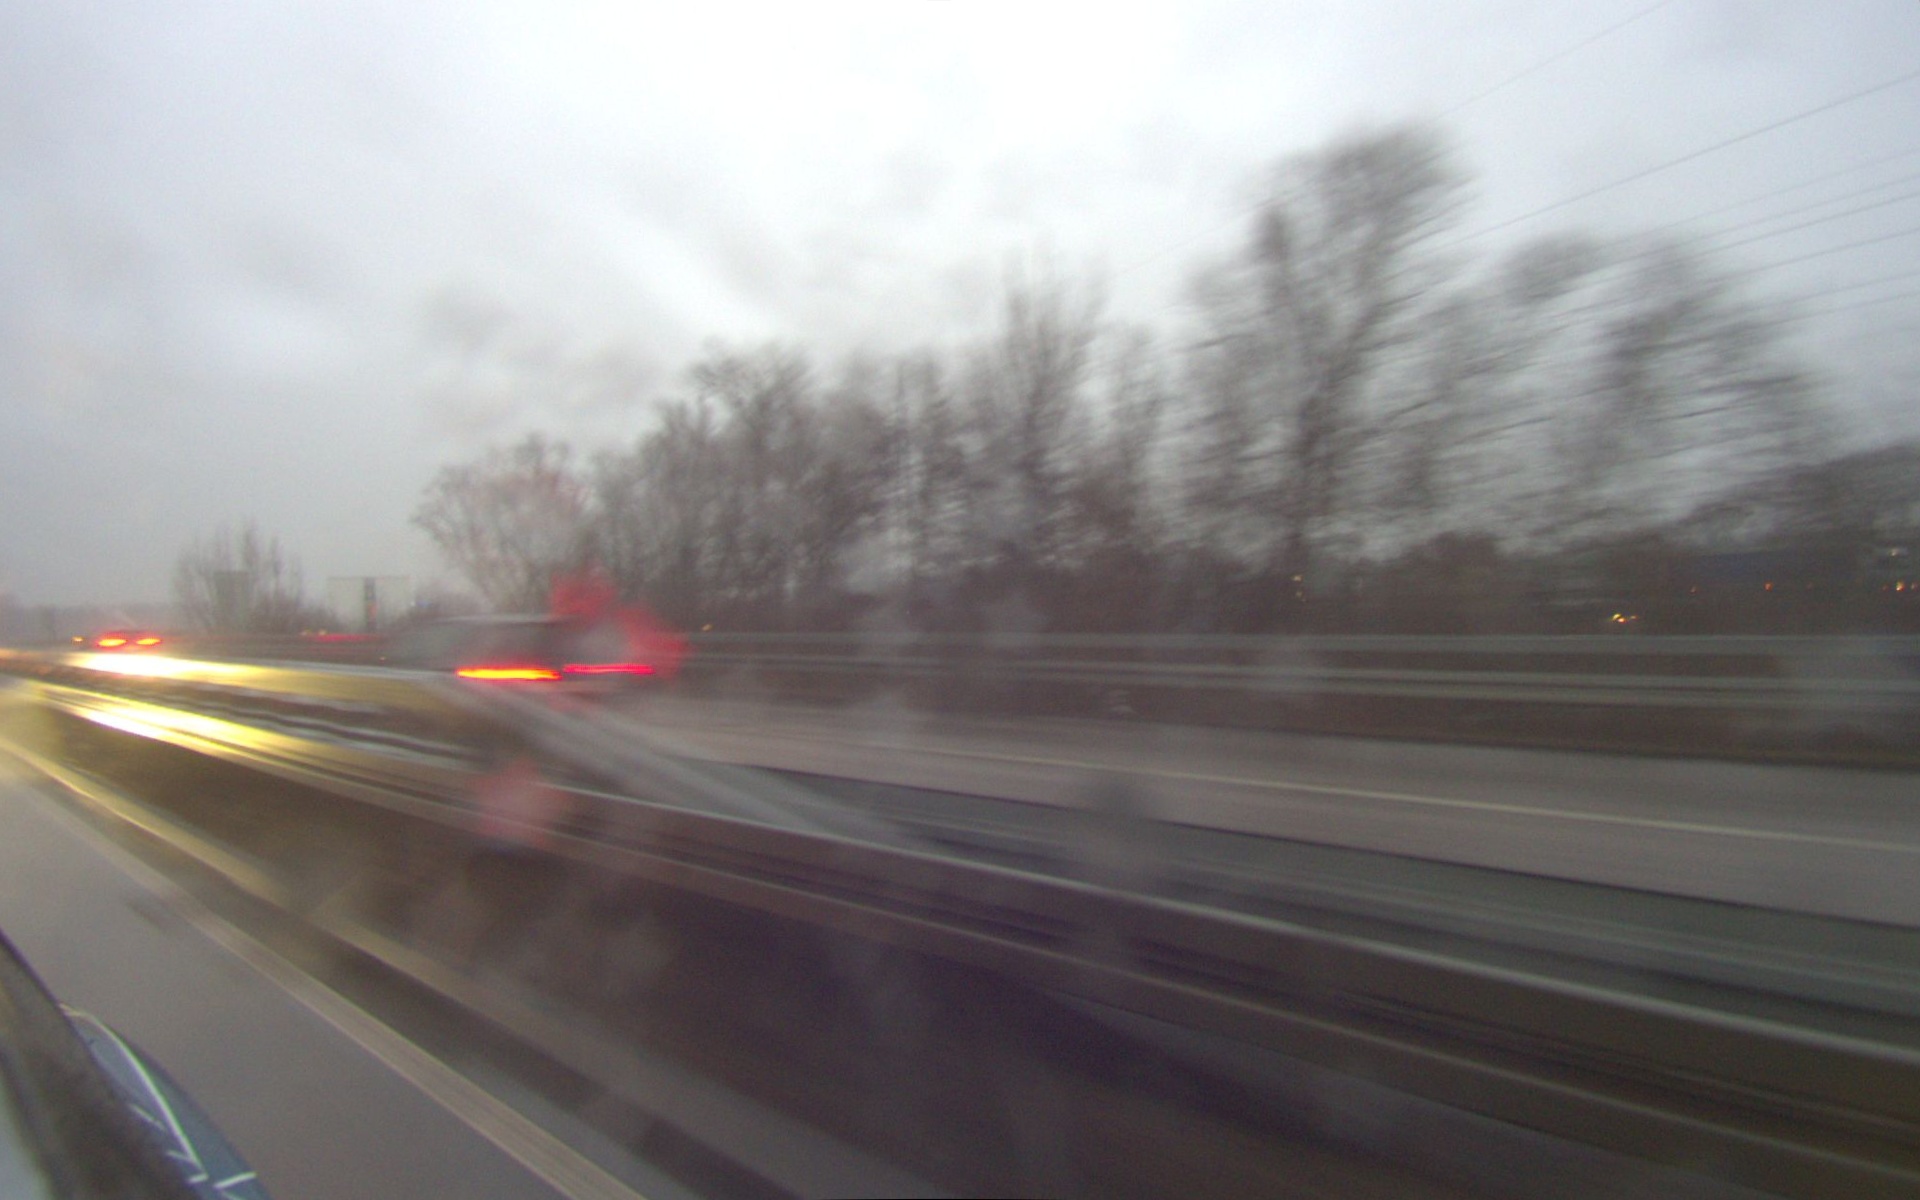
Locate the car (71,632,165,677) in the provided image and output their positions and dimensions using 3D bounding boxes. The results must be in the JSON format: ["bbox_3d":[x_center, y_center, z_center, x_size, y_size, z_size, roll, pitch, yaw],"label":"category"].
[{"bbox_3d":[-33.639,2.186,40.397,4.473,1.606,2.073,-4,-3,39],"label":"car"}]

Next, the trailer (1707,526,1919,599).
[{"bbox_3d":[65.817,-2.902,78.141,3.255,5.141,13.275,-2,2,-22],"label":"trailer"}]

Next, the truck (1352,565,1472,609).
[{"bbox_3d":[50.714,-1.596,114.306,3.229,4.644,13.923,-2,2,-23],"label":"truck"}]

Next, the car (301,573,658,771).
[{"bbox_3d":[-6.260,0.777,12.938,4.991,2.028,1.976,-1,2,37],"label":"car"}]
